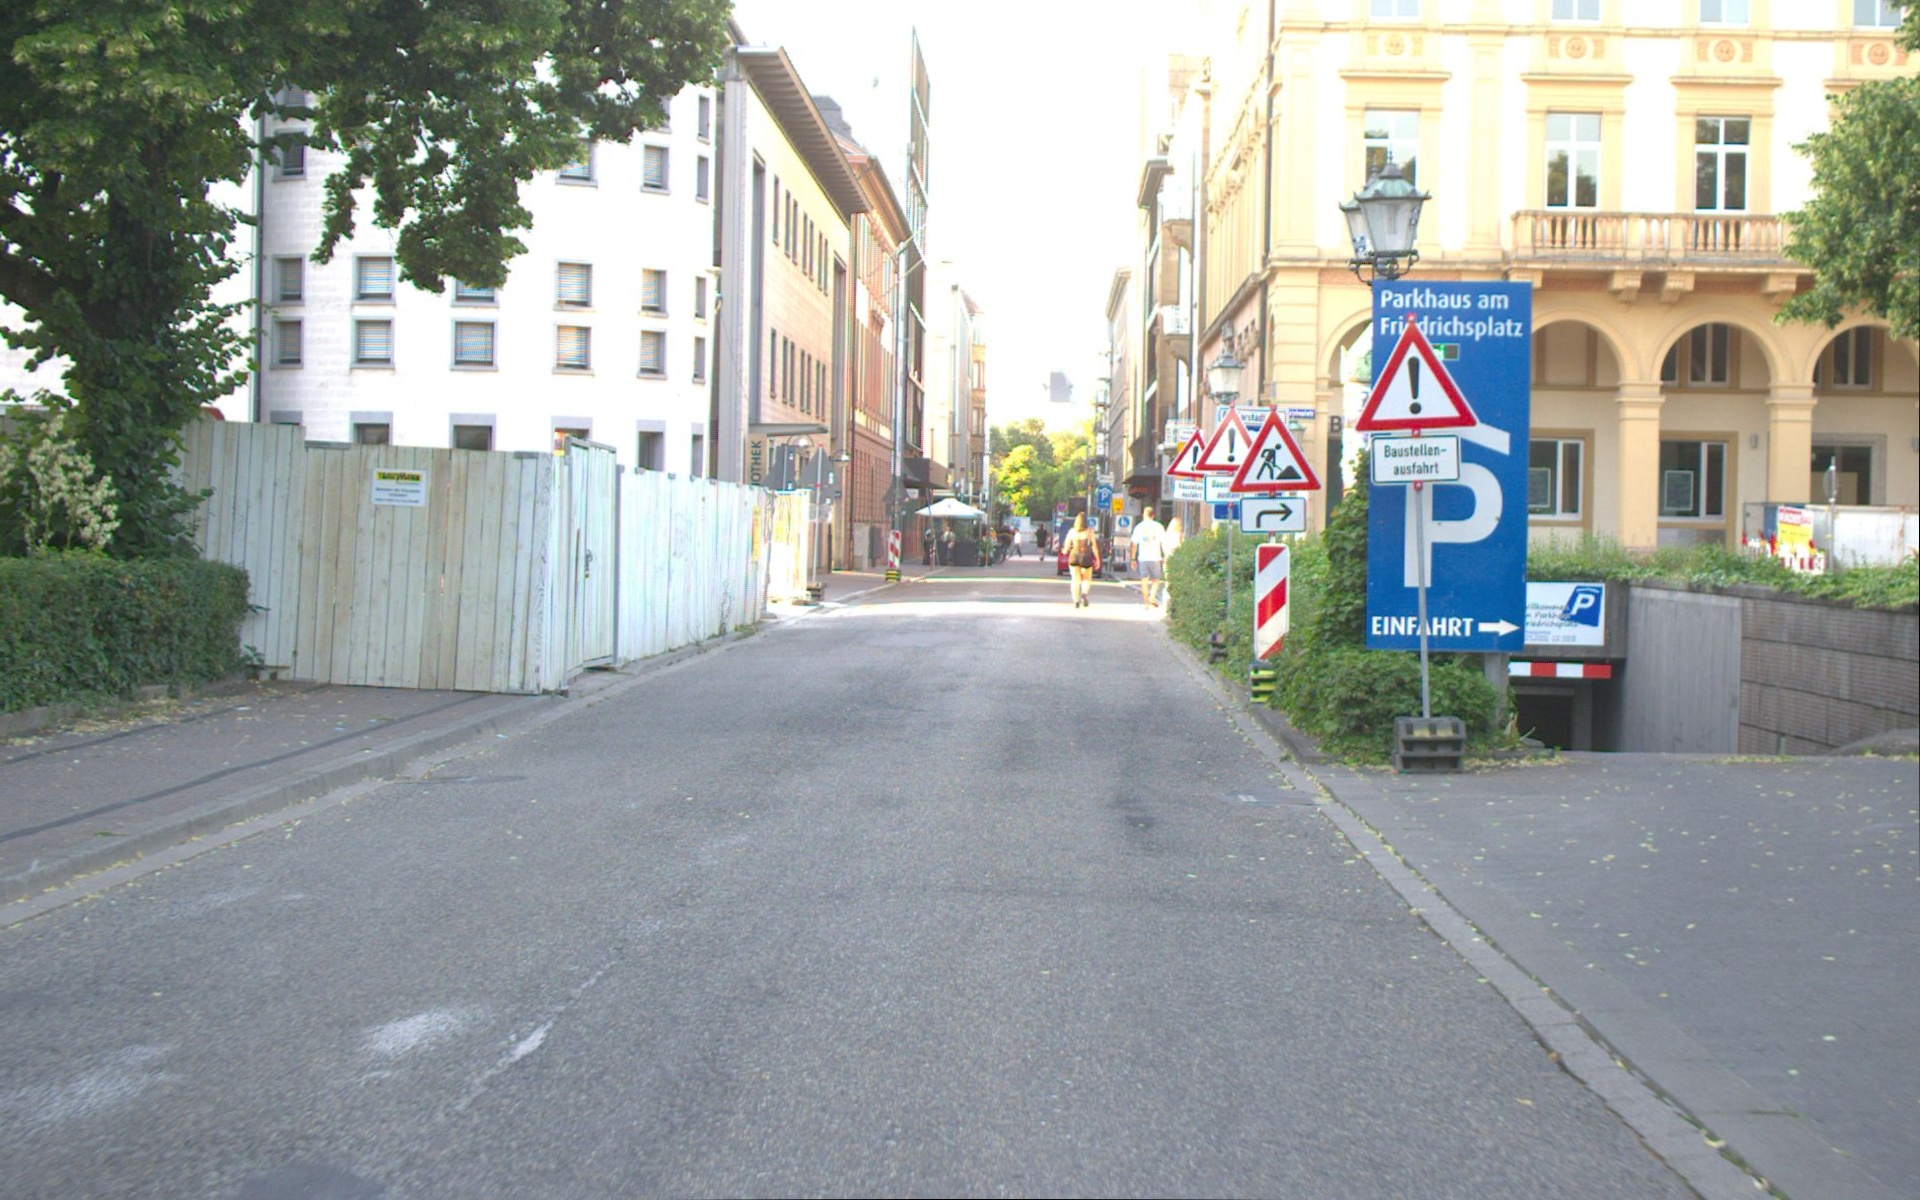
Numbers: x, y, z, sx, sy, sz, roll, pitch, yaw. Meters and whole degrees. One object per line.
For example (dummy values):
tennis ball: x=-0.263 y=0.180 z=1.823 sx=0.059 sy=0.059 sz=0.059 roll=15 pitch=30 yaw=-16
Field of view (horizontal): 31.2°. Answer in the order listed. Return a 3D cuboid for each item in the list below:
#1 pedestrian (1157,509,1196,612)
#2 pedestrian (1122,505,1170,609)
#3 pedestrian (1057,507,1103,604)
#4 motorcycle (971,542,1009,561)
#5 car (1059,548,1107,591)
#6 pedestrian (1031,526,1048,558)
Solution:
pedestrian: x=3.819 y=-0.704 z=60.690 sx=0.636 sy=1.797 sz=0.772 roll=1 pitch=1 yaw=1
pedestrian: x=3.356 y=-0.779 z=62.134 sx=0.812 sy=1.869 sz=0.875 roll=1 pitch=1 yaw=1
pedestrian: x=2.160 y=-0.804 z=62.045 sx=0.775 sy=1.740 sz=0.875 roll=1 pitch=1 yaw=1
motorcycle: x=1.438 y=-2.321 z=164.545 sx=1.801 sy=0.872 sz=0.560 roll=1 pitch=1 yaw=-2
car: x=4.463 y=-1.121 z=124.662 sx=1.649 sy=1.422 sz=3.535 roll=4 pitch=1 yaw=2
pedestrian: x=4.207 y=-3.073 z=182.069 sx=0.804 sy=1.667 sz=0.888 roll=1 pitch=1 yaw=4
